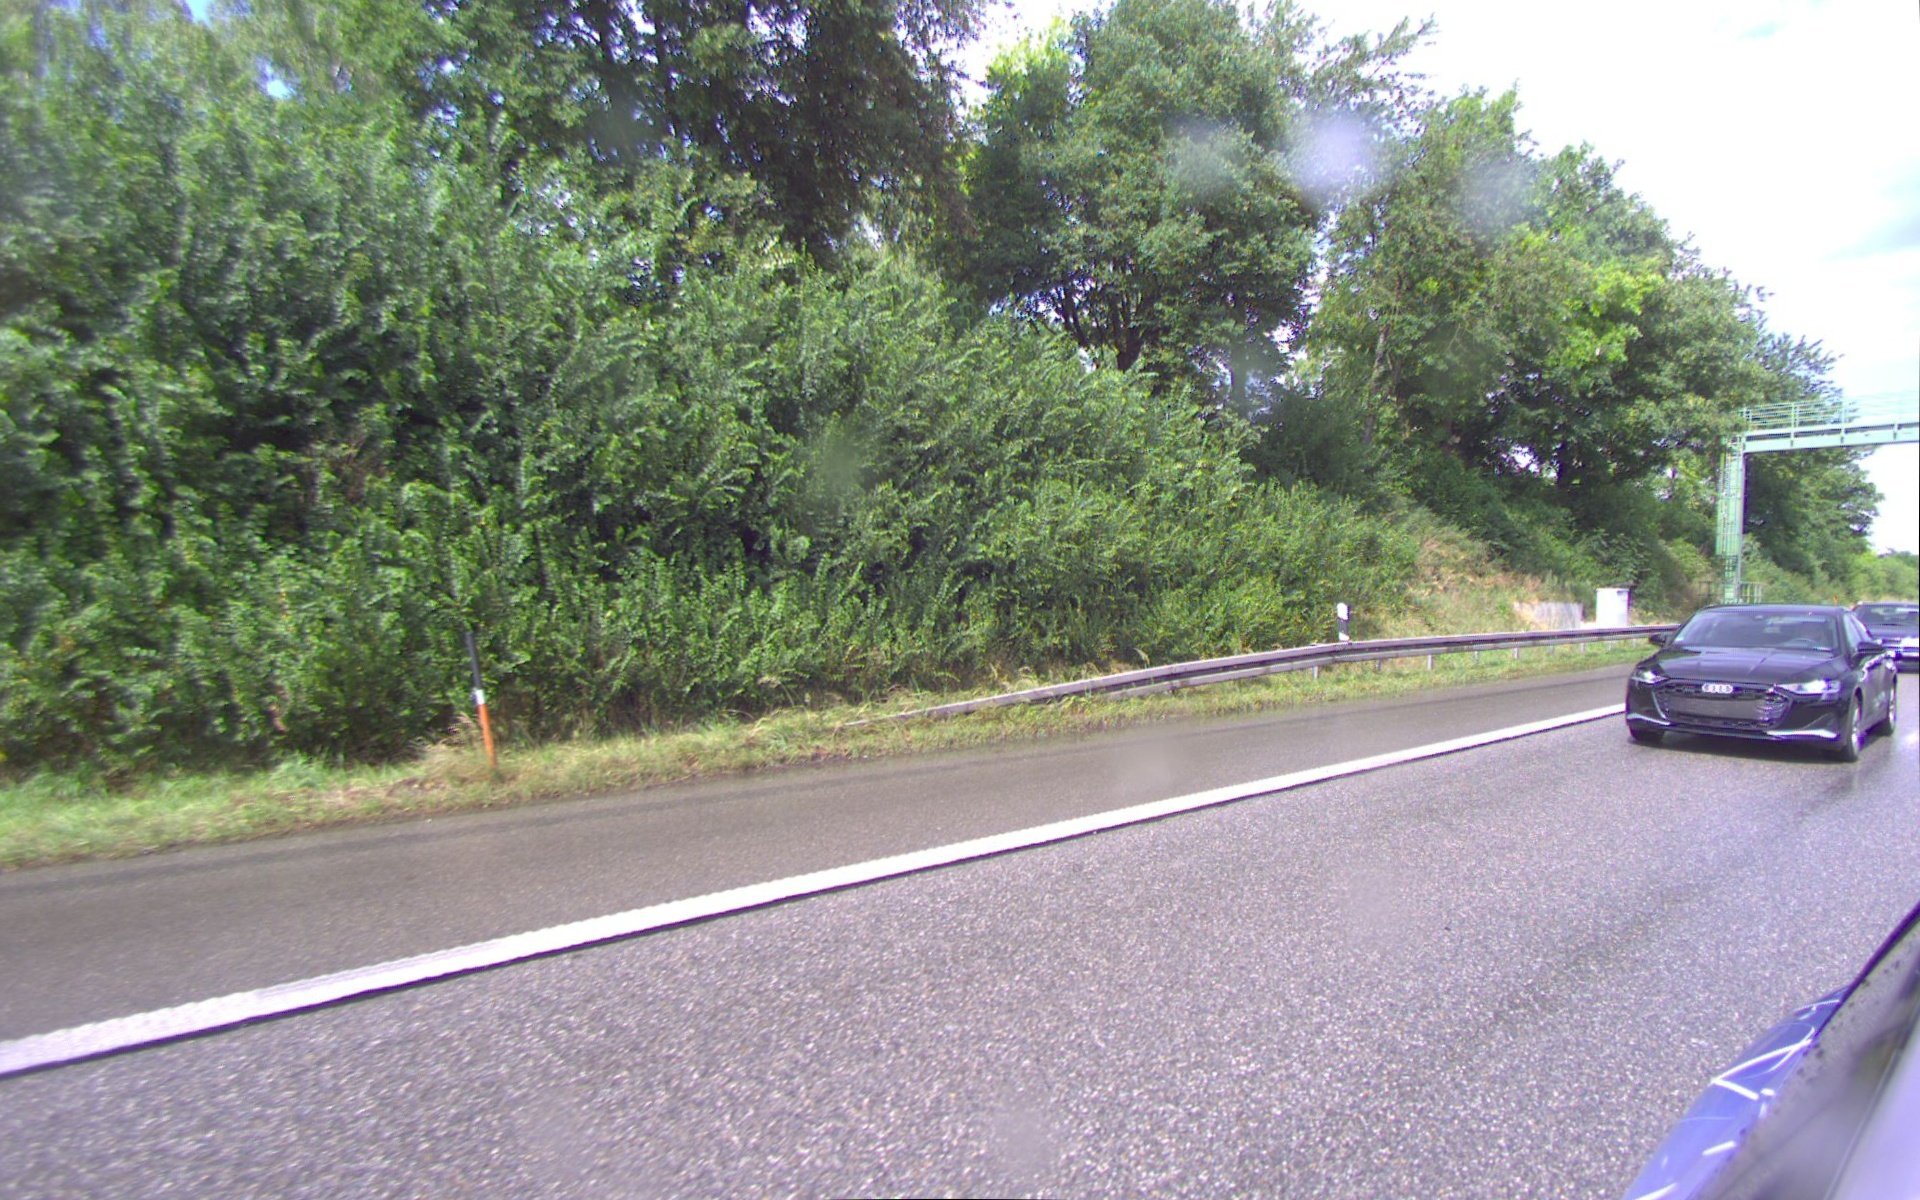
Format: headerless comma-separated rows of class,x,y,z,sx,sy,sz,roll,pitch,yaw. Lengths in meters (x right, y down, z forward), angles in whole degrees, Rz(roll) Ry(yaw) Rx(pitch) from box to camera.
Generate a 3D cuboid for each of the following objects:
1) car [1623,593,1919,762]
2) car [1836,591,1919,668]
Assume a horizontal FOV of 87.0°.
car,8.705,0.648,10.701,4.292,1.414,1.758,0,1,-41
car,19.631,0.550,21.099,3.681,1.474,1.653,0,1,-42
